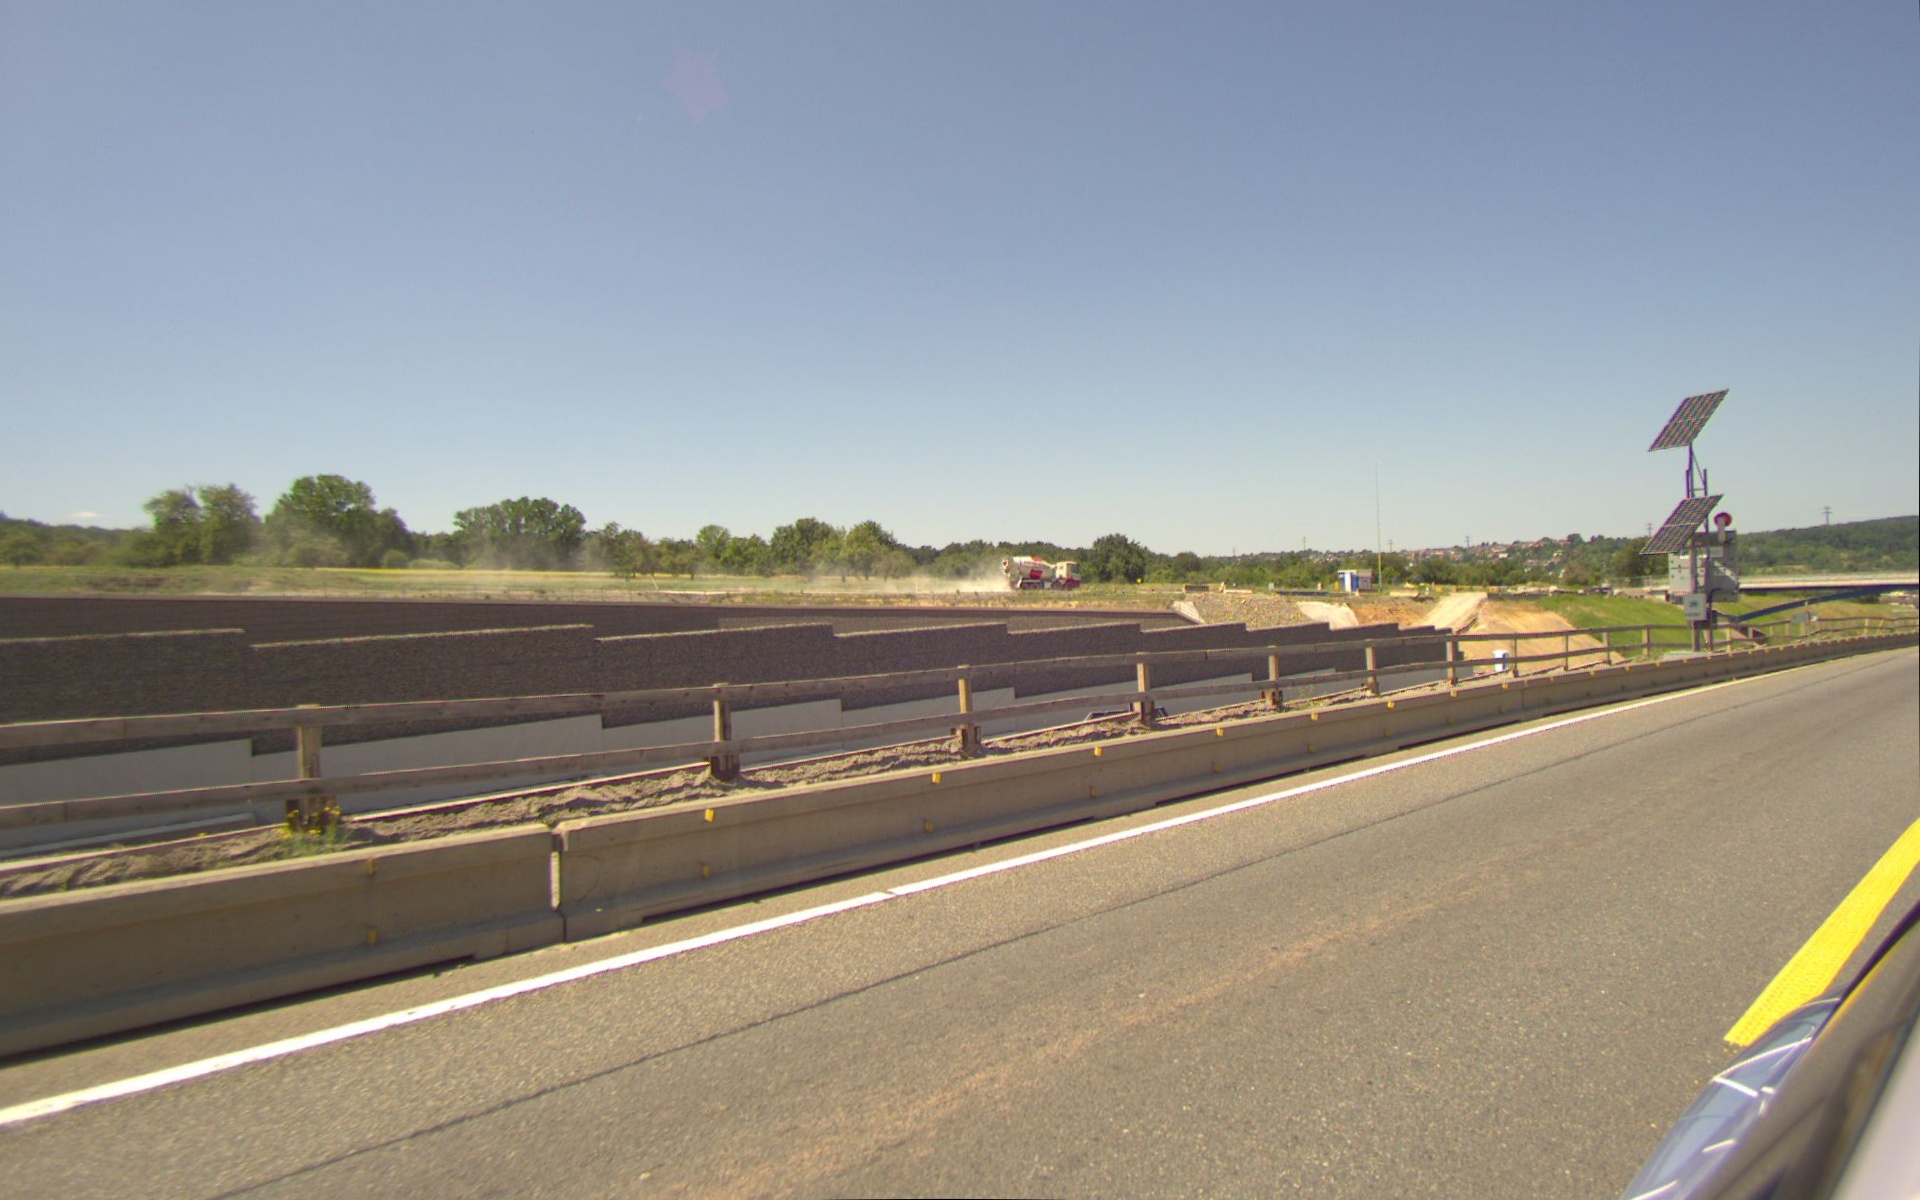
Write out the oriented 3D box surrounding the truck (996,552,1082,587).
[{"bbox_3d":[8.419,-3.225,107.358,8.573,3.509,3.163,-1,-1,-22],"label":"truck"}]
